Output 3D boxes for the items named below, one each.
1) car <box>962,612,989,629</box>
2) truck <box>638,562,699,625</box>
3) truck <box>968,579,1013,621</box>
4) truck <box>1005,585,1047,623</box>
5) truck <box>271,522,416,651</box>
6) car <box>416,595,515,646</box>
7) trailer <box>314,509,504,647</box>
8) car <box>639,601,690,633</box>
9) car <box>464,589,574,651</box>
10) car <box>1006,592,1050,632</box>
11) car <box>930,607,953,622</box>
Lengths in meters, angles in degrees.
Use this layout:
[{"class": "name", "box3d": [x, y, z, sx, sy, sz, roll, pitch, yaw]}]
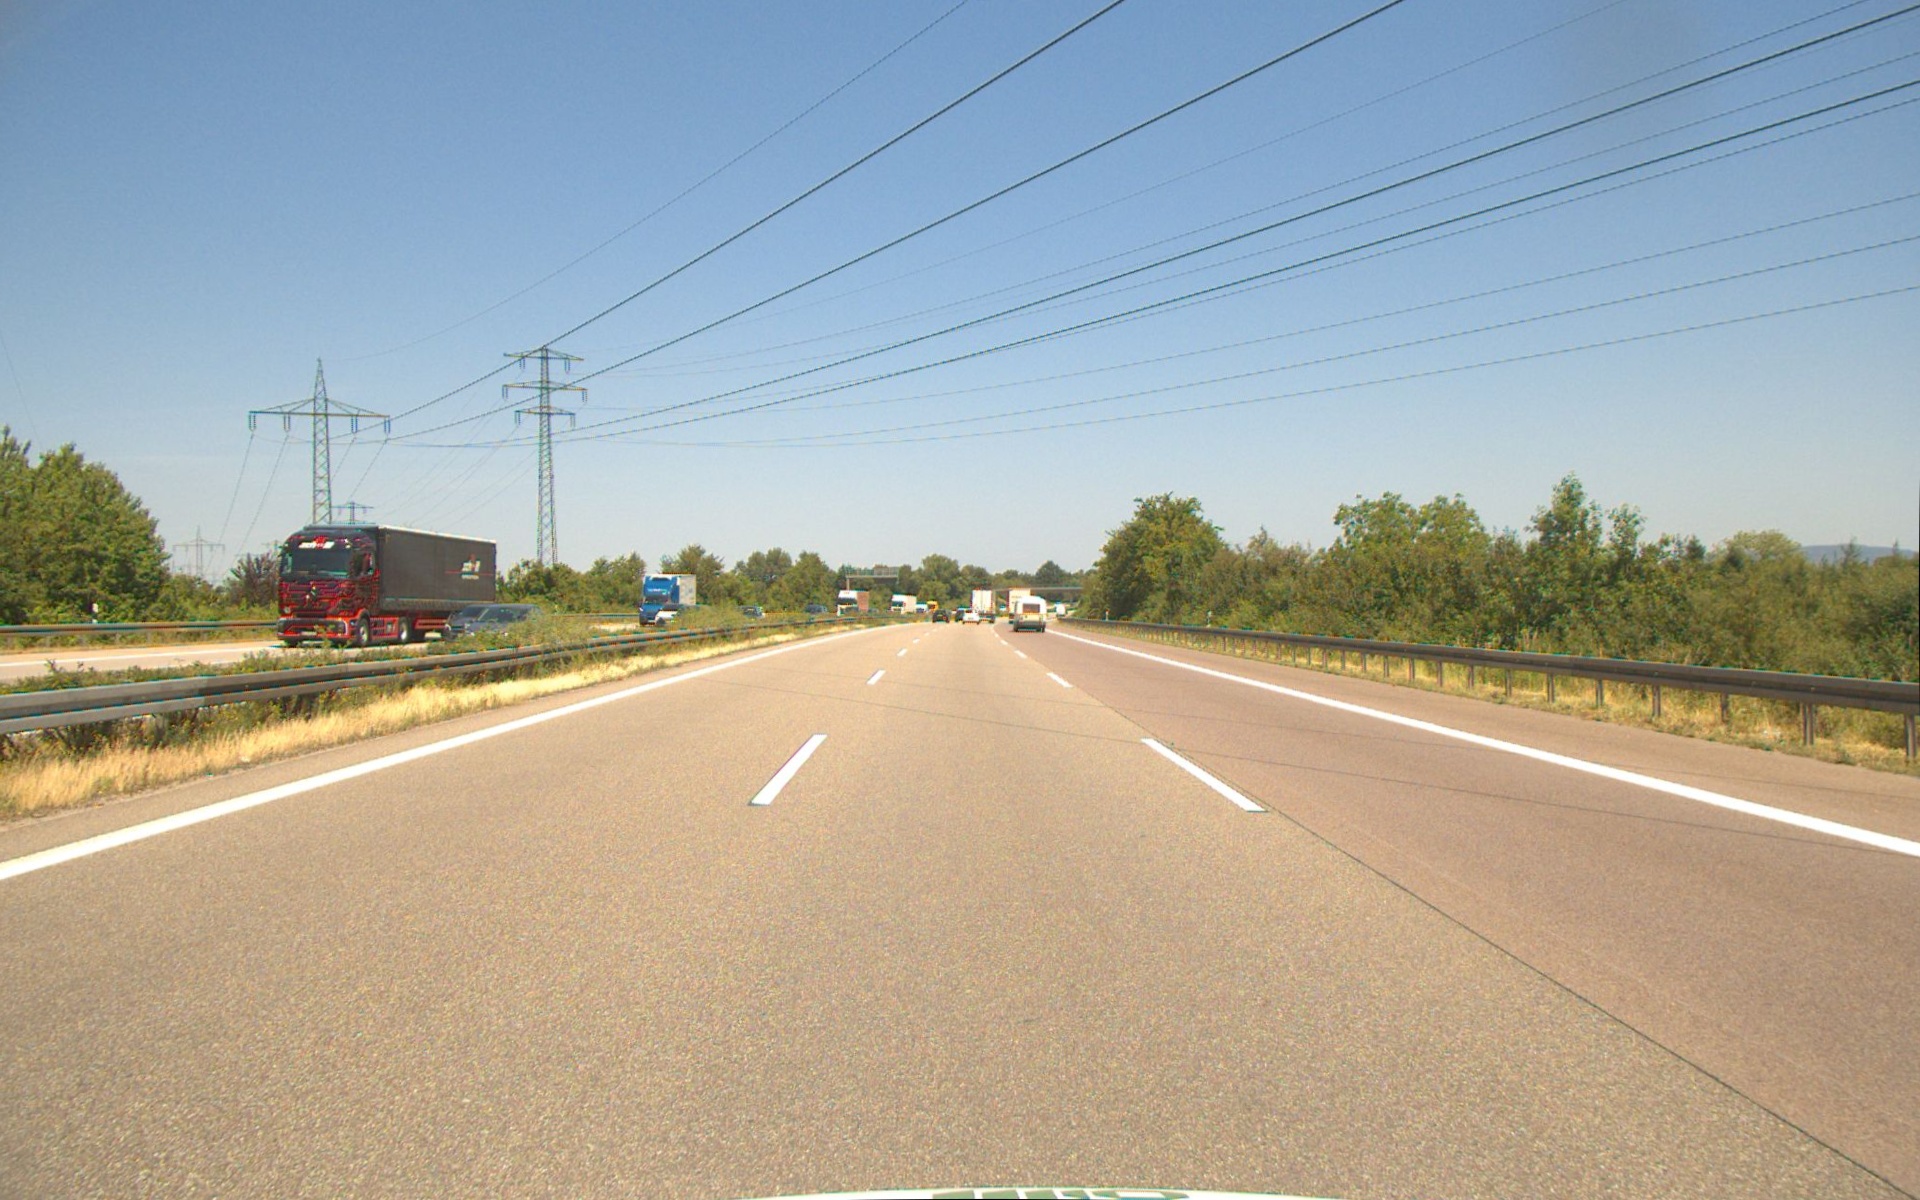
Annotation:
[{"class": "car", "box3d": [1.569, 2.061, 164.689, 1.789, 1.574, 4.322, 1, 0, 13]}, {"class": "truck", "box3d": [-19.912, -0.475, 113.530, 2.403, 4.045, 9.670, -2, 1, 0]}, {"class": "truck", "box3d": [3.953, -0.061, 208.552, 3.588, 5.106, 16.031, 1, 1, 9]}, {"class": "truck", "box3d": [8.083, 0.370, 200.696, 3.113, 4.379, 16.031, 1, 1, 9]}, {"class": "truck", "box3d": [-20.502, -0.456, 55.335, 2.594, 4.052, 5.991, 1, 0, 0]}, {"class": "car", "box3d": [-17.157, 0.675, 57.637, 1.904, 1.646, 5.017, 1, 1, 0]}, {"class": "trailer", "box3d": [-20.545, -0.830, 62.845, 2.594, 4.631, 13.864, 1, 1, 0]}, {"class": "car", "box3d": [-16.561, 0.918, 92.948, 1.953, 1.646, 5.017, 1, 1, 0]}, {"class": "car", "box3d": [-12.598, 0.533, 47.601, 1.791, 1.647, 5.017, 1, 1, 0]}, {"class": "car", "box3d": [4.220, 0.737, 103.814, 2.393, 2.362, 5.320, -1, 1, -2]}, {"class": "car", "box3d": [-2.023, 1.528, 179.569, 1.789, 1.574, 4.322, 1, 0, 9]}]
